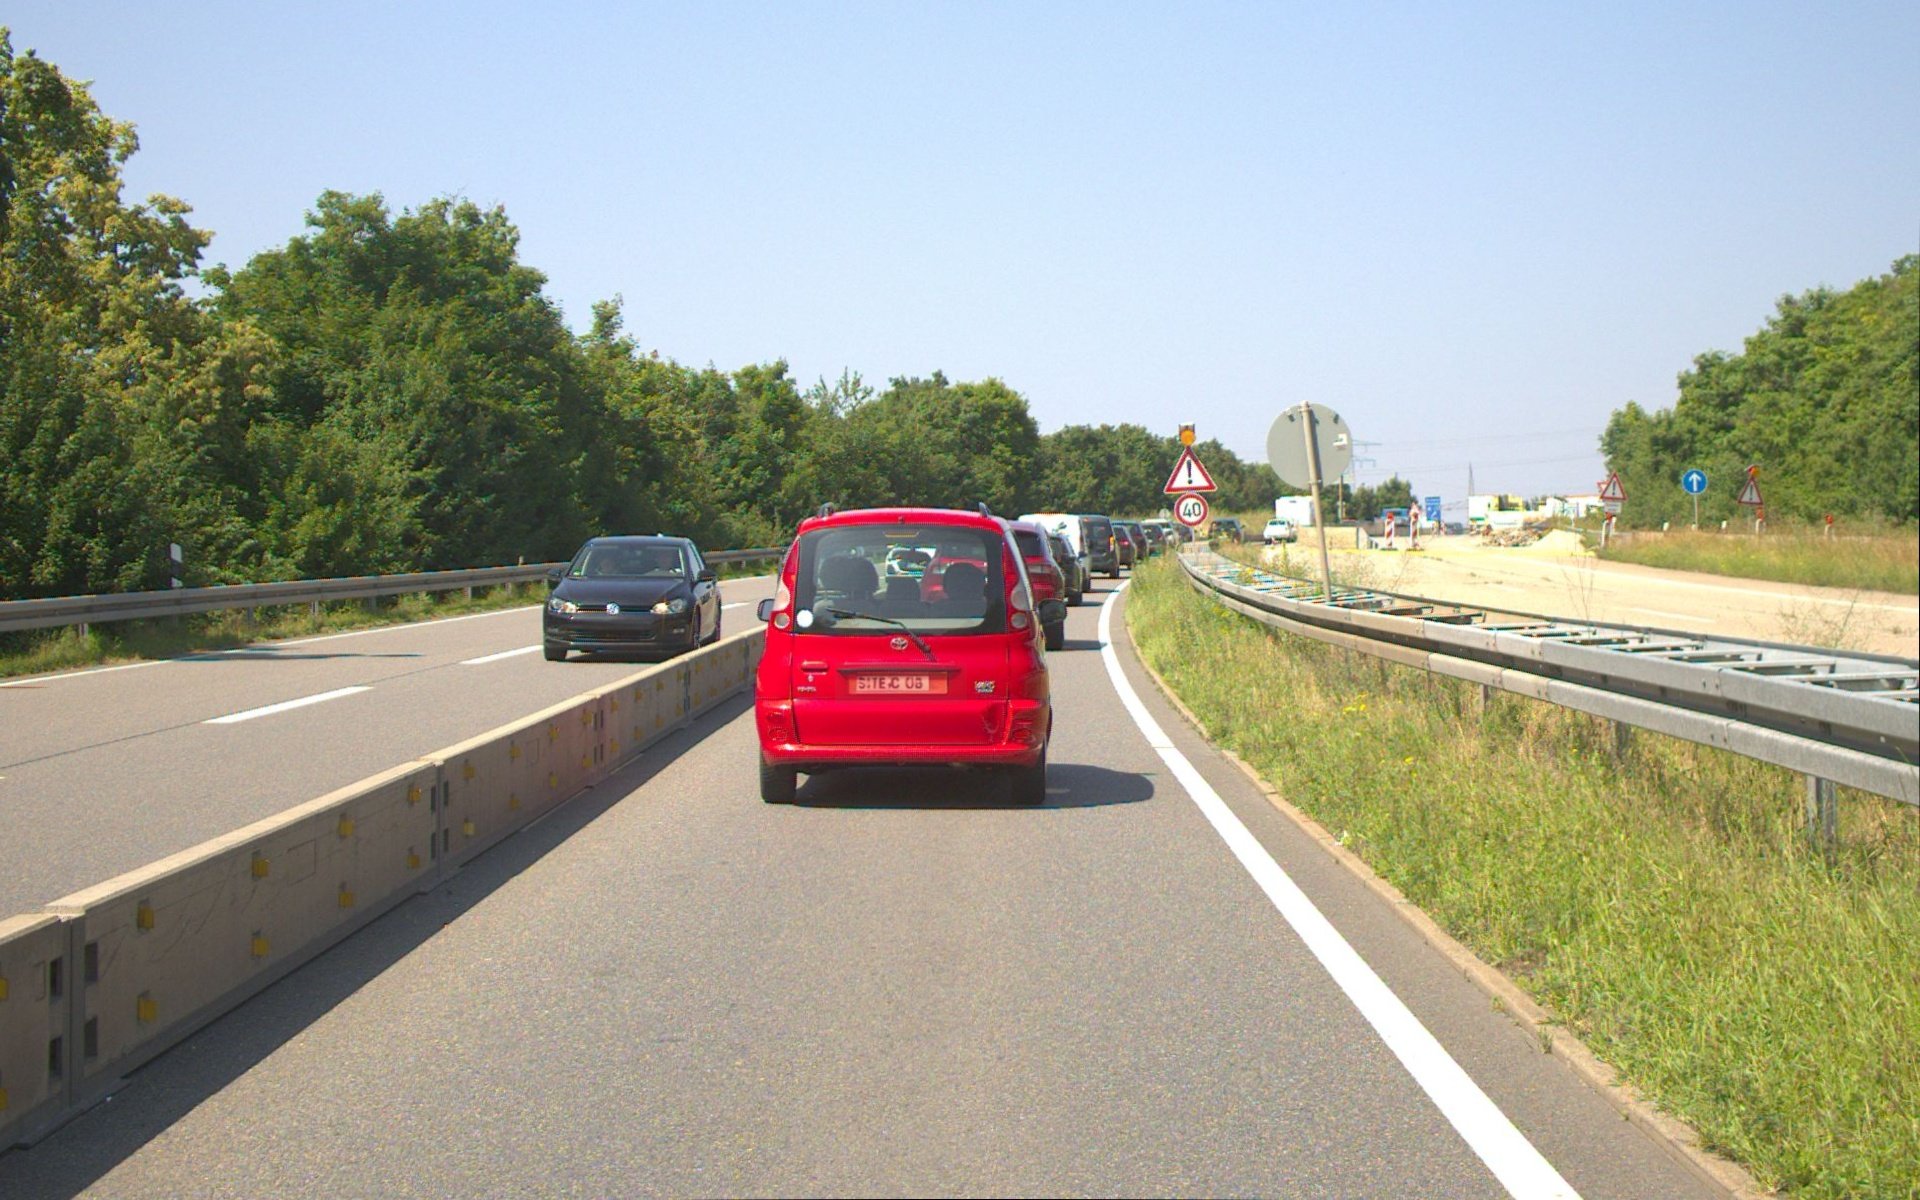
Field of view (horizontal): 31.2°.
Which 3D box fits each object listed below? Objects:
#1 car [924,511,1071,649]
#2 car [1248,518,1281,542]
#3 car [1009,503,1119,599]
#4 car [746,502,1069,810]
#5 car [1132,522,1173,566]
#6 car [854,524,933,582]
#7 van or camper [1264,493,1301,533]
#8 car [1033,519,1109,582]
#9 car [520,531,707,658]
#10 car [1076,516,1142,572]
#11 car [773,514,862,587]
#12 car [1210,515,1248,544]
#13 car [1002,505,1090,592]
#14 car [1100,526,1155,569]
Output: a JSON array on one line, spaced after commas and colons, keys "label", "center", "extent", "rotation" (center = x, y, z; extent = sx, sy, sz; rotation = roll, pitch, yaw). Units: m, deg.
[{"label": "car", "center": [0.466, -0.289, 45.083], "extent": [1.830, 1.716, 4.000], "rotation": [0, 1, 0]}, {"label": "car", "center": [19.645, -4.533, 222.035], "extent": [1.994, 1.481, 4.000], "rotation": [-1, 1, 4]}, {"label": "car", "center": [2.040, -0.980, 68.452], "extent": [1.993, 1.831, 4.000], "rotation": [-1, 1, -1]}, {"label": "car", "center": [-0.280, 0.264, 20.669], "extent": [1.752, 1.667, 4.000], "rotation": [0, 1, 0]}, {"label": "car", "center": [7.790, -2.263, 139.053], "extent": [1.502, 1.730, 3.169], "rotation": [1, 1, 5]}, {"label": "car", "center": [-1.780, -1.293, 93.387], "extent": [1.949, 1.533, 4.436], "rotation": [0, 1, 2]}, {"label": "van or camper", "center": [21.950, -5.928, 234.121], "extent": [2.328, 2.697, 4.593], "rotation": [-1, 1, 3]}, {"label": "car", "center": [3.158, -1.426, 98.332], "extent": [1.993, 1.744, 4.000], "rotation": [-1, 1, -1]}, {"label": "car", "center": [-4.057, -0.100, 40.832], "extent": [1.815, 1.419, 4.109], "rotation": [0, 1, 0]}, {"label": "car", "center": [4.910, -1.858, 113.573], "extent": [1.993, 1.777, 4.000], "rotation": [0, 1, 0]}, {"label": "car", "center": [-2.986, -1.055, 72.641], "extent": [1.725, 1.491, 4.389], "rotation": [0, 1, 0]}, {"label": "car", "center": [14.727, -3.856, 188.158], "extent": [1.994, 1.546, 4.000], "rotation": [-1, 1, 5]}, {"label": "car", "center": [2.051, -1.216, 81.112], "extent": [1.993, 1.997, 4.000], "rotation": [0, 1, 2]}, {"label": "car", "center": [6.242, -1.956, 128.285], "extent": [1.994, 1.579, 4.000], "rotation": [0, 1, 2]}]
